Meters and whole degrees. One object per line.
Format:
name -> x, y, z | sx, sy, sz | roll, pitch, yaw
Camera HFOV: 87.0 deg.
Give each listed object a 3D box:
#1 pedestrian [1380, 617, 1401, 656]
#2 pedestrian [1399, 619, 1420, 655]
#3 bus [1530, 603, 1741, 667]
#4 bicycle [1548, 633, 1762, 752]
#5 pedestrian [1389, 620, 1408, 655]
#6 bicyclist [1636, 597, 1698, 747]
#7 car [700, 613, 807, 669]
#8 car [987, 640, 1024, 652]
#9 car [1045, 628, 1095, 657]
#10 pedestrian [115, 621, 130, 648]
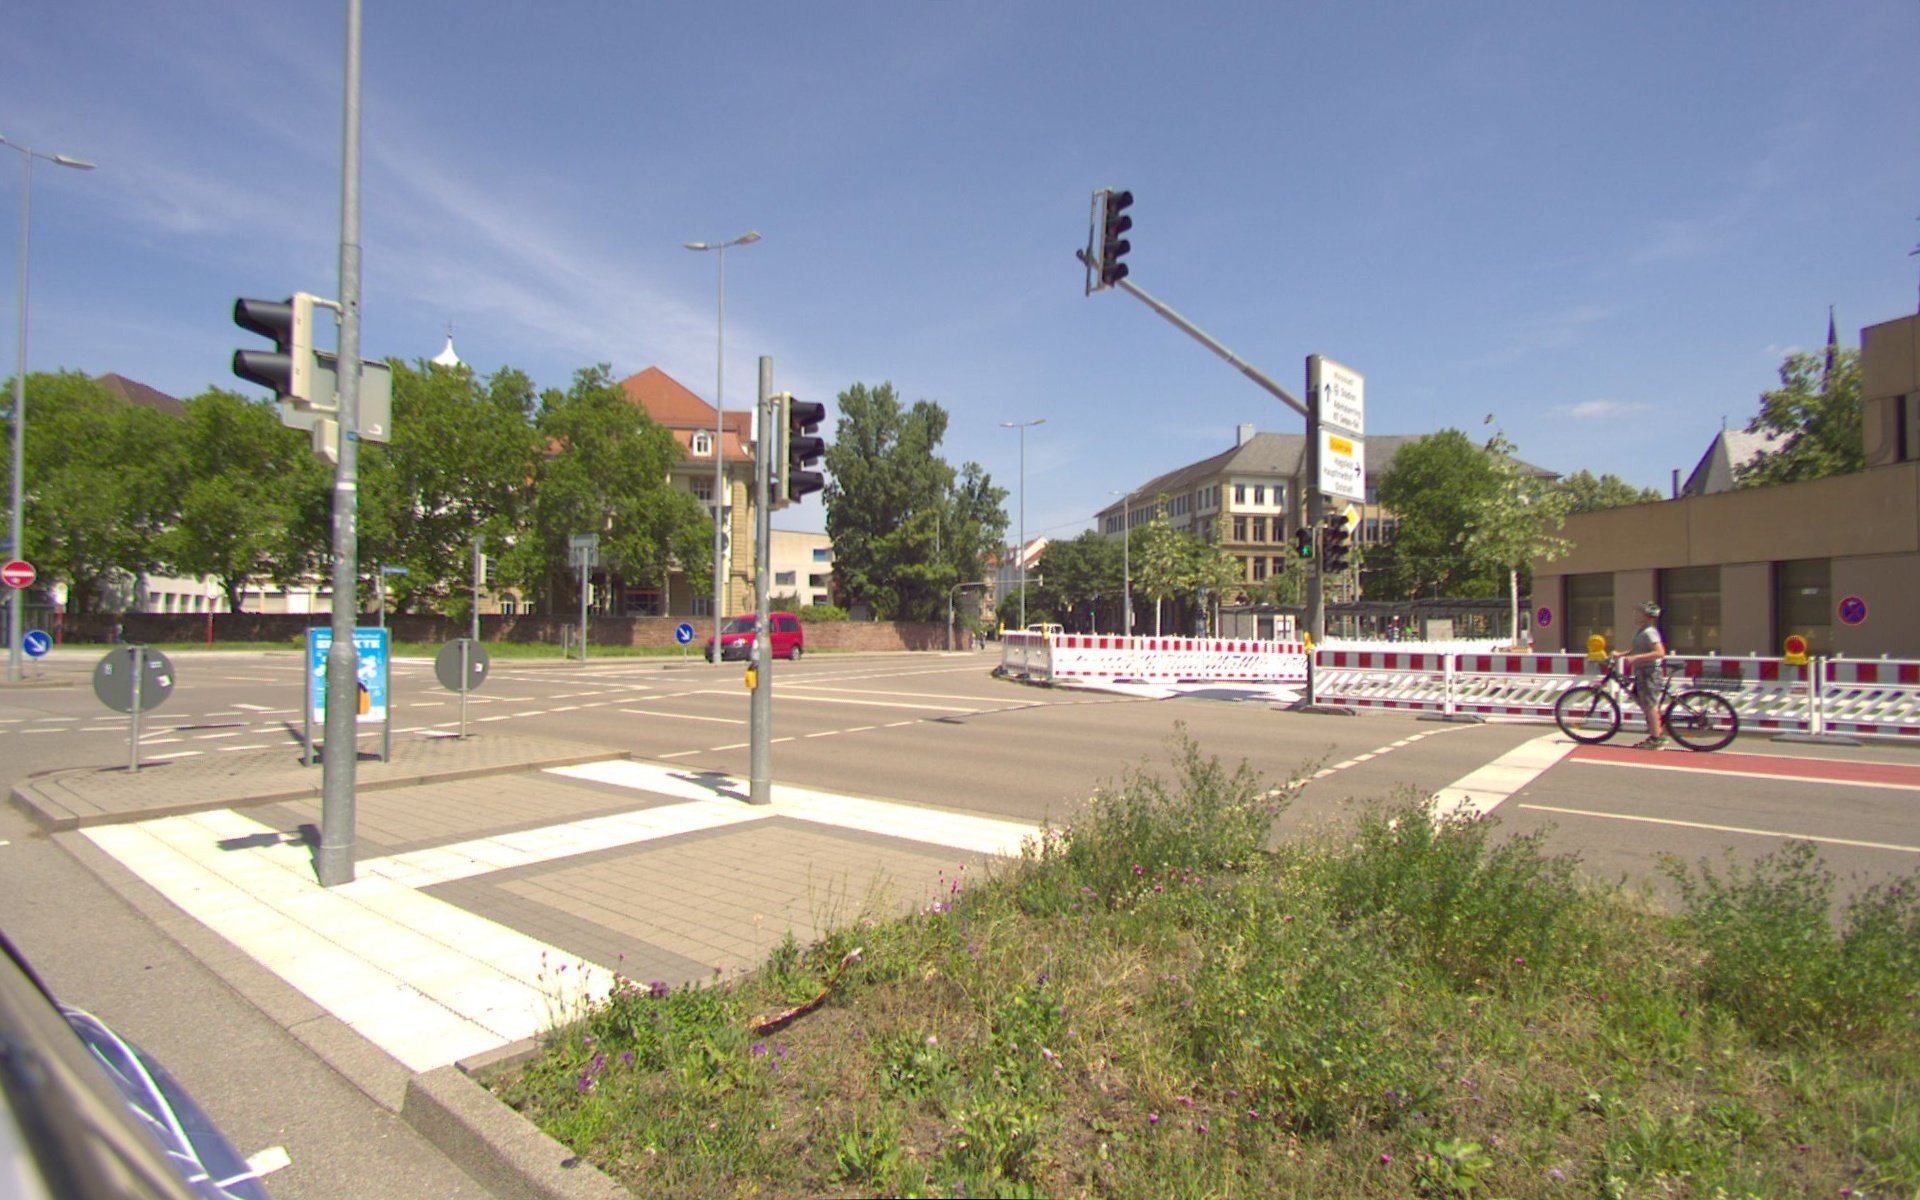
pedestrian -> 21.518, 1.834, 50.602 | 0.681, 1.920, 0.578 | -1, -3, -13
pedestrian -> 22.681, 1.886, 51.062 | 0.635, 1.802, 0.639 | -1, -3, -12
bus -> 36.428, 2.025, 55.393 | 2.809, 3.077, 10.625 | -1, -3, -11
bicycle -> 7.636, 0.972, 11.189 | 1.897, 1.189, 0.517 | -1, -2, 41
pedestrian -> 22.481, 1.937, 51.899 | 0.531, 1.769, 0.661 | -1, -3, -21
bicyclist -> 7.758, 0.766, 11.098 | 0.498, 1.591, 0.524 | -1, -2, 41
car -> -7.124, 1.424, 35.287 | 1.818, 1.780, 4.254 | -3, -3, 17
car -> 5.765, 5.807, 128.433 | 4.417, 1.439, 1.800 | 0, -2, 35
car -> 7.268, 2.773, 66.297 | 1.921, 1.808, 4.992 | -1, -2, 23
pedestrian -> -55.328, 2.301, 66.875 | 0.519, 1.734, 0.589 | -2, -3, -1
